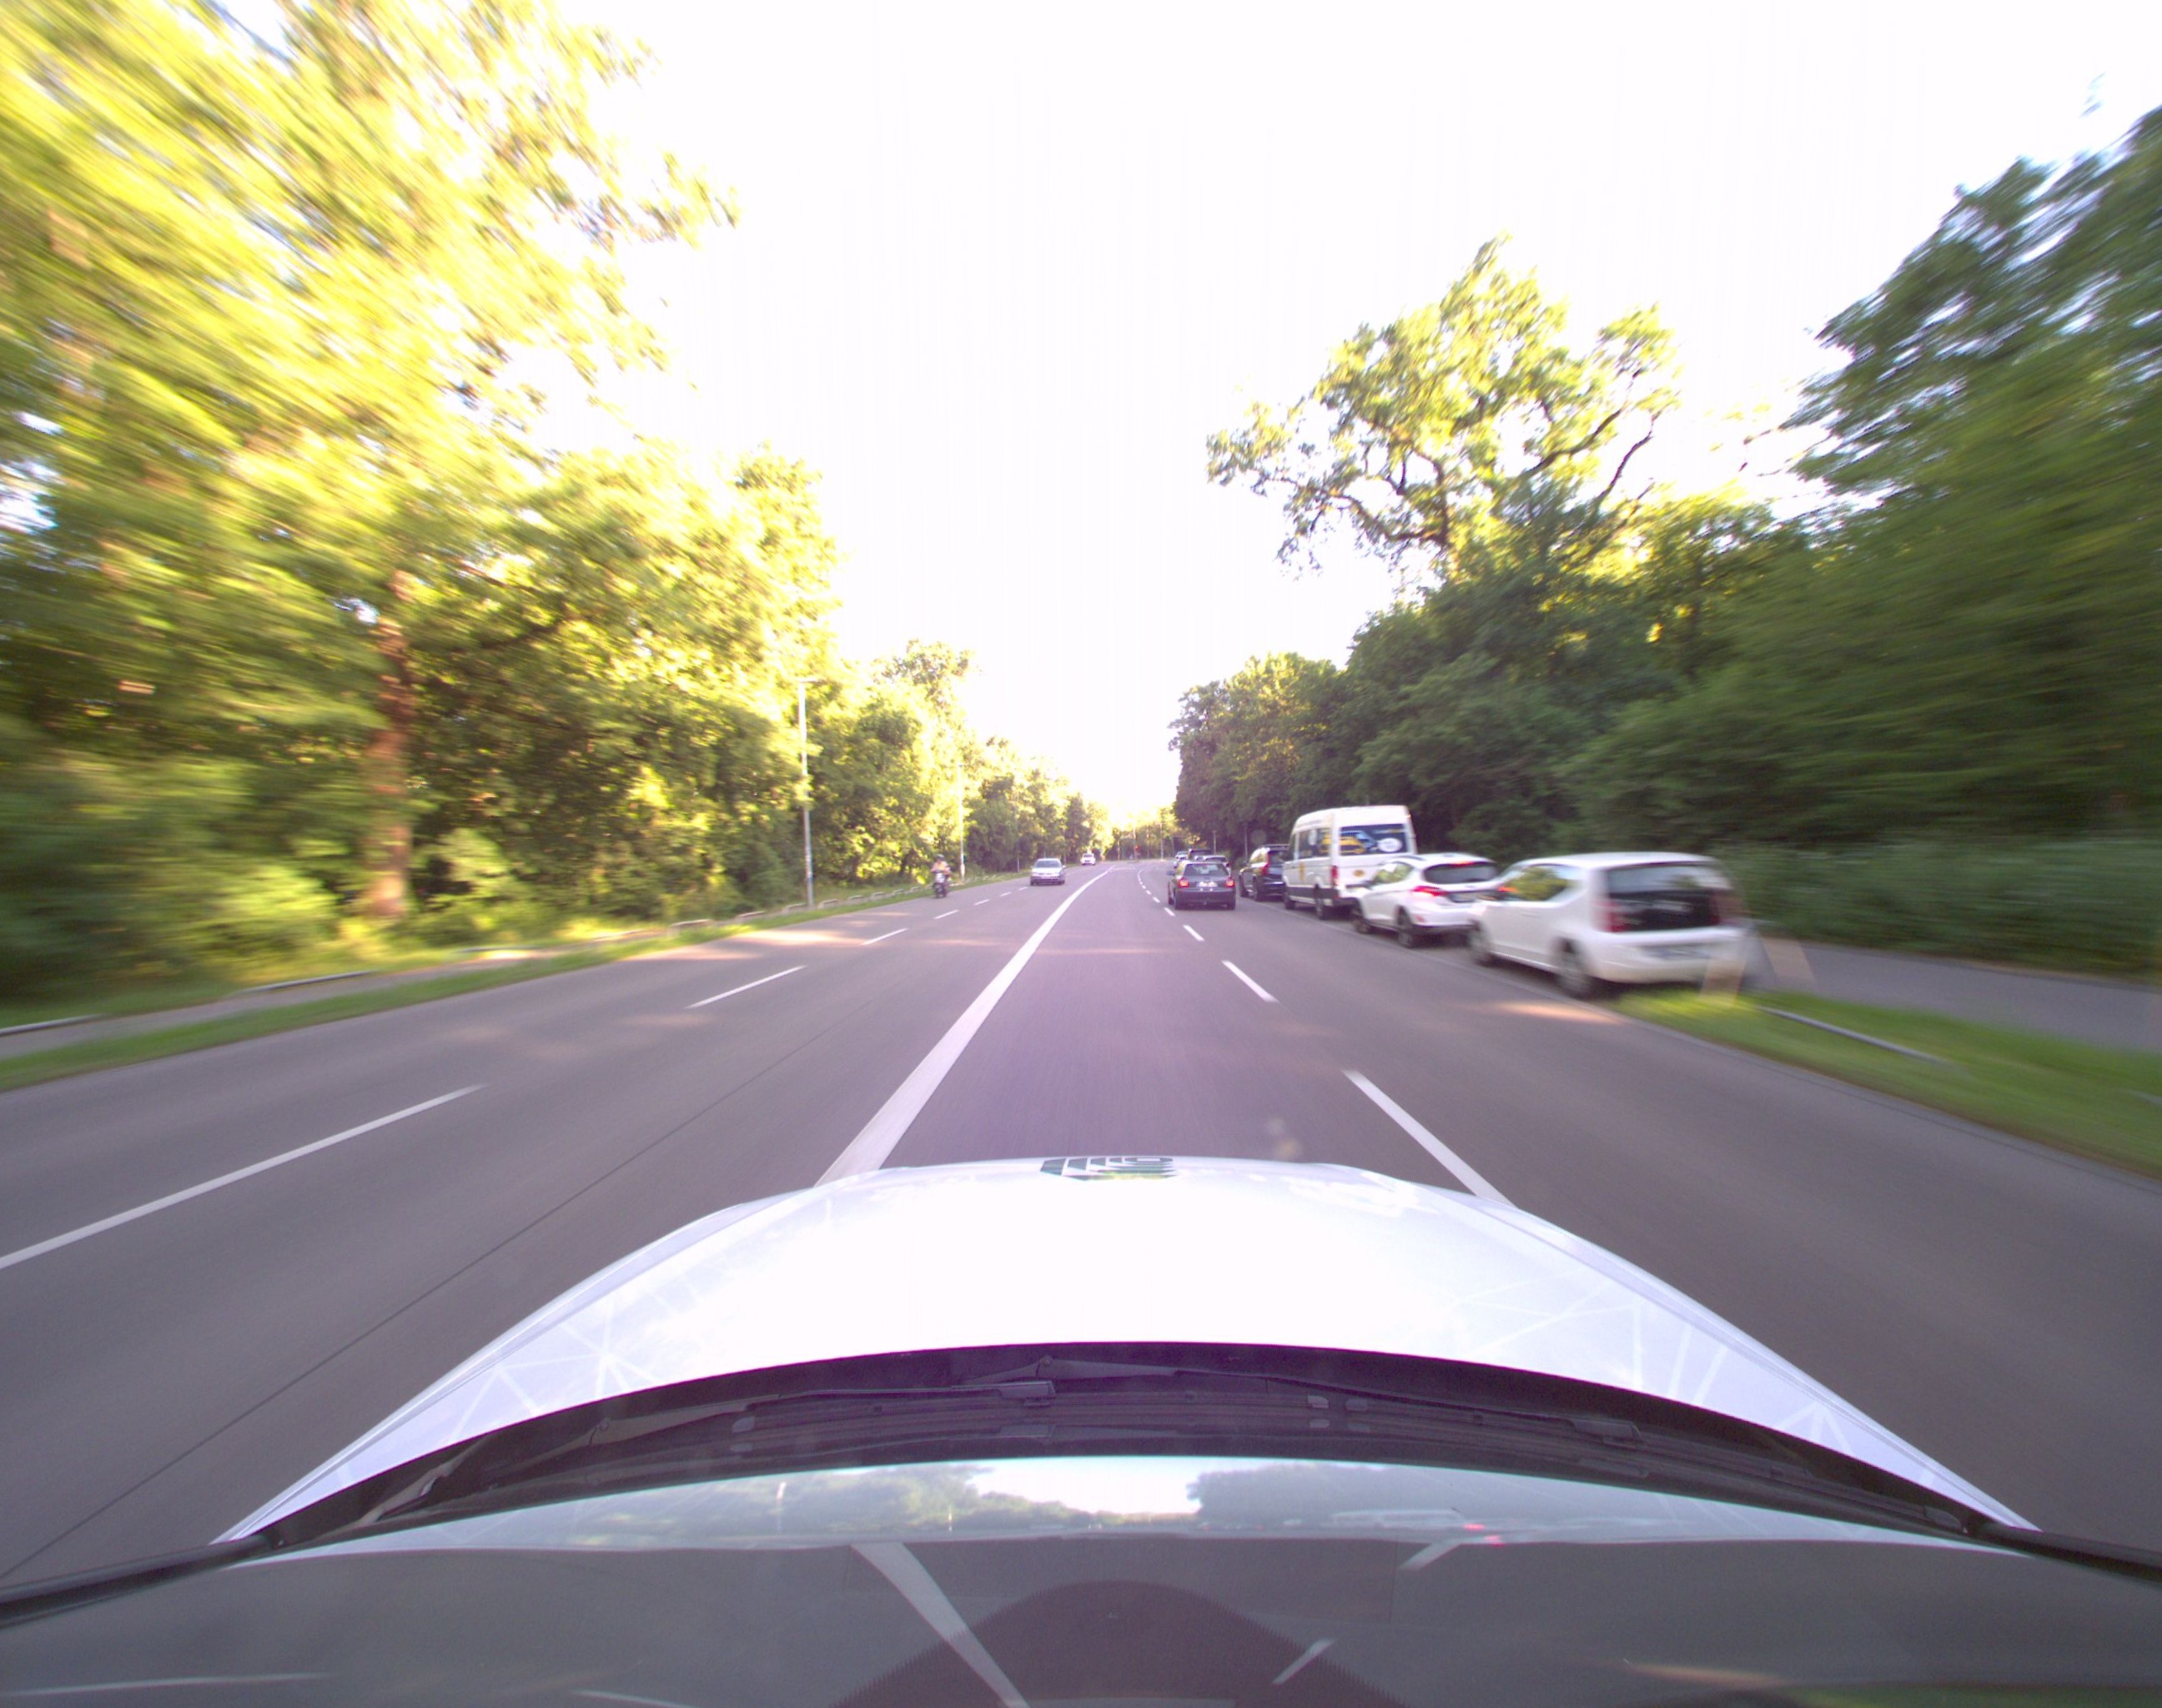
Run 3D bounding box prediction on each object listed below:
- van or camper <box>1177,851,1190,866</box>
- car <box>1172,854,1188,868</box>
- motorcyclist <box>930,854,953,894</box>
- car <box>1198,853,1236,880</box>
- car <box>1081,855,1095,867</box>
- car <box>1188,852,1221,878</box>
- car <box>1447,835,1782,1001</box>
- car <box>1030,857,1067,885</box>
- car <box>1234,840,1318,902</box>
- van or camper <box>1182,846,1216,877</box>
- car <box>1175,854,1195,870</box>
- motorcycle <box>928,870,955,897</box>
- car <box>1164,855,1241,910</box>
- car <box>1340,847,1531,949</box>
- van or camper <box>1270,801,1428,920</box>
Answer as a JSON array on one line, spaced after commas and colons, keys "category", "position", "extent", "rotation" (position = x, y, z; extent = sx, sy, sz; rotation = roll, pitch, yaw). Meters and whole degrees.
[{"category": "van or camper", "position": [14.593, 0.607, 116.324], "extent": [1.822, 1.970, 5.351], "rotation": [-1, 0, 7]}, {"category": "car", "position": [11.480, 0.811, 94.060], "extent": [1.718, 1.522, 4.098], "rotation": [-4, -1, 7]}, {"category": "motorcyclist", "position": [-5.418, 0.776, 31.712], "extent": [0.722, 1.505, 0.672], "rotation": [-1, -1, 1]}, {"category": "car", "position": [7.633, 0.671, 46.010], "extent": [1.720, 1.441, 4.105], "rotation": [-2, 0, 4]}, {"category": "car", "position": [1.141, 1.185, 133.948], "extent": [1.985, 1.992, 5.001], "rotation": [0, -1, 3]}, {"category": "car", "position": [7.756, 0.672, 51.418], "extent": [1.720, 1.544, 4.222], "rotation": [-2, 0, 4]}, {"category": "car", "position": [5.979, 0.617, 9.743], "extent": [1.715, 1.496, 3.780], "rotation": [-4, 0, 5]}, {"category": "car", "position": [-1.753, 0.898, 44.826], "extent": [1.675, 1.407, 3.891], "rotation": [-2, 0, 2]}, {"category": "car", "position": [6.591, 0.535, 28.101], "extent": [1.822, 1.868, 5.077], "rotation": [-2, 0, 2]}, {"category": "van or camper", "position": [8.244, 0.516, 57.185], "extent": [1.884, 1.948, 5.140], "rotation": [-4, 0, 4]}, {"category": "car", "position": [10.065, 0.769, 79.180], "extent": [1.719, 1.441, 4.673], "rotation": [-4, 0, 5]}, {"category": "motorcycle", "position": [-5.412, 1.128, 31.664], "extent": [0.634, 0.995, 2.078], "rotation": [-1, 0, 2]}, {"category": "car", "position": [3.494, 0.776, 24.018], "extent": [1.721, 1.441, 4.091], "rotation": [-1, 0, 1]}, {"category": "car", "position": [6.061, 0.674, 14.483], "extent": [1.716, 1.496, 4.148], "rotation": [-2, 0, 2]}, {"category": "van or camper", "position": [6.556, 0.136, 20.779], "extent": [2.111, 2.517, 5.981], "rotation": [-2, 0, 1]}]
